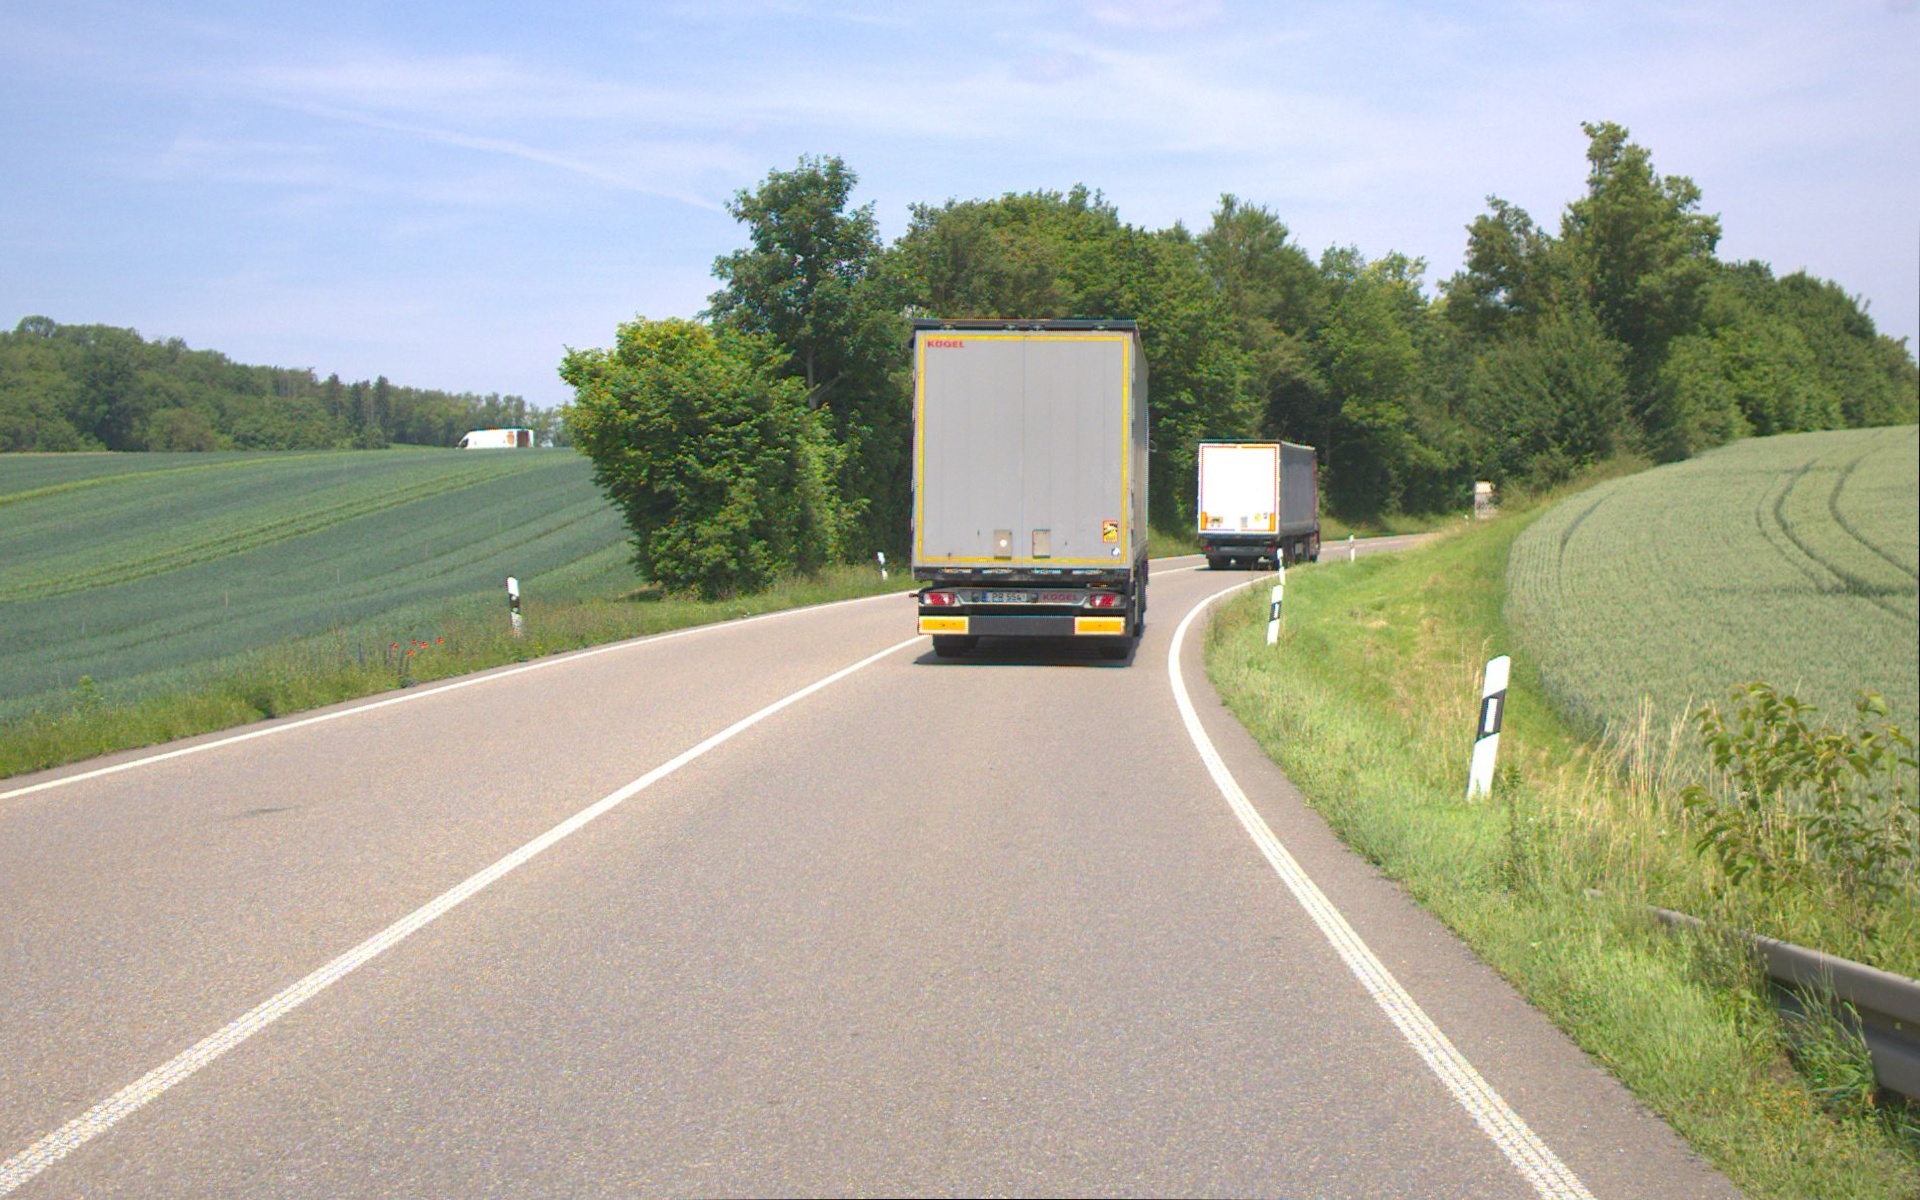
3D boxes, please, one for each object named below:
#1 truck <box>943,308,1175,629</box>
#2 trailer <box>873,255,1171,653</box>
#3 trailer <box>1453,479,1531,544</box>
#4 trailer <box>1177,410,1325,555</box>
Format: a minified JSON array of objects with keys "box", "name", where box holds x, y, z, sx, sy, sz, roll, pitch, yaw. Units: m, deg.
[{"box":[1.598,-1.906,51.649,3.119,4.479,6.810,0,1,5],"name":"truck"},{"box":[1.122,-1.791,45.888,3.119,4.484,13.884,0,1,4],"name":"trailer"},{"box":[30.504,-5.008,196.746,2.825,3.297,11.508,-1,-1,16],"name":"trailer"},{"box":[9.631,-3.970,112.232,3.366,4.301,13.861,-1,3,11],"name":"trailer"}]
